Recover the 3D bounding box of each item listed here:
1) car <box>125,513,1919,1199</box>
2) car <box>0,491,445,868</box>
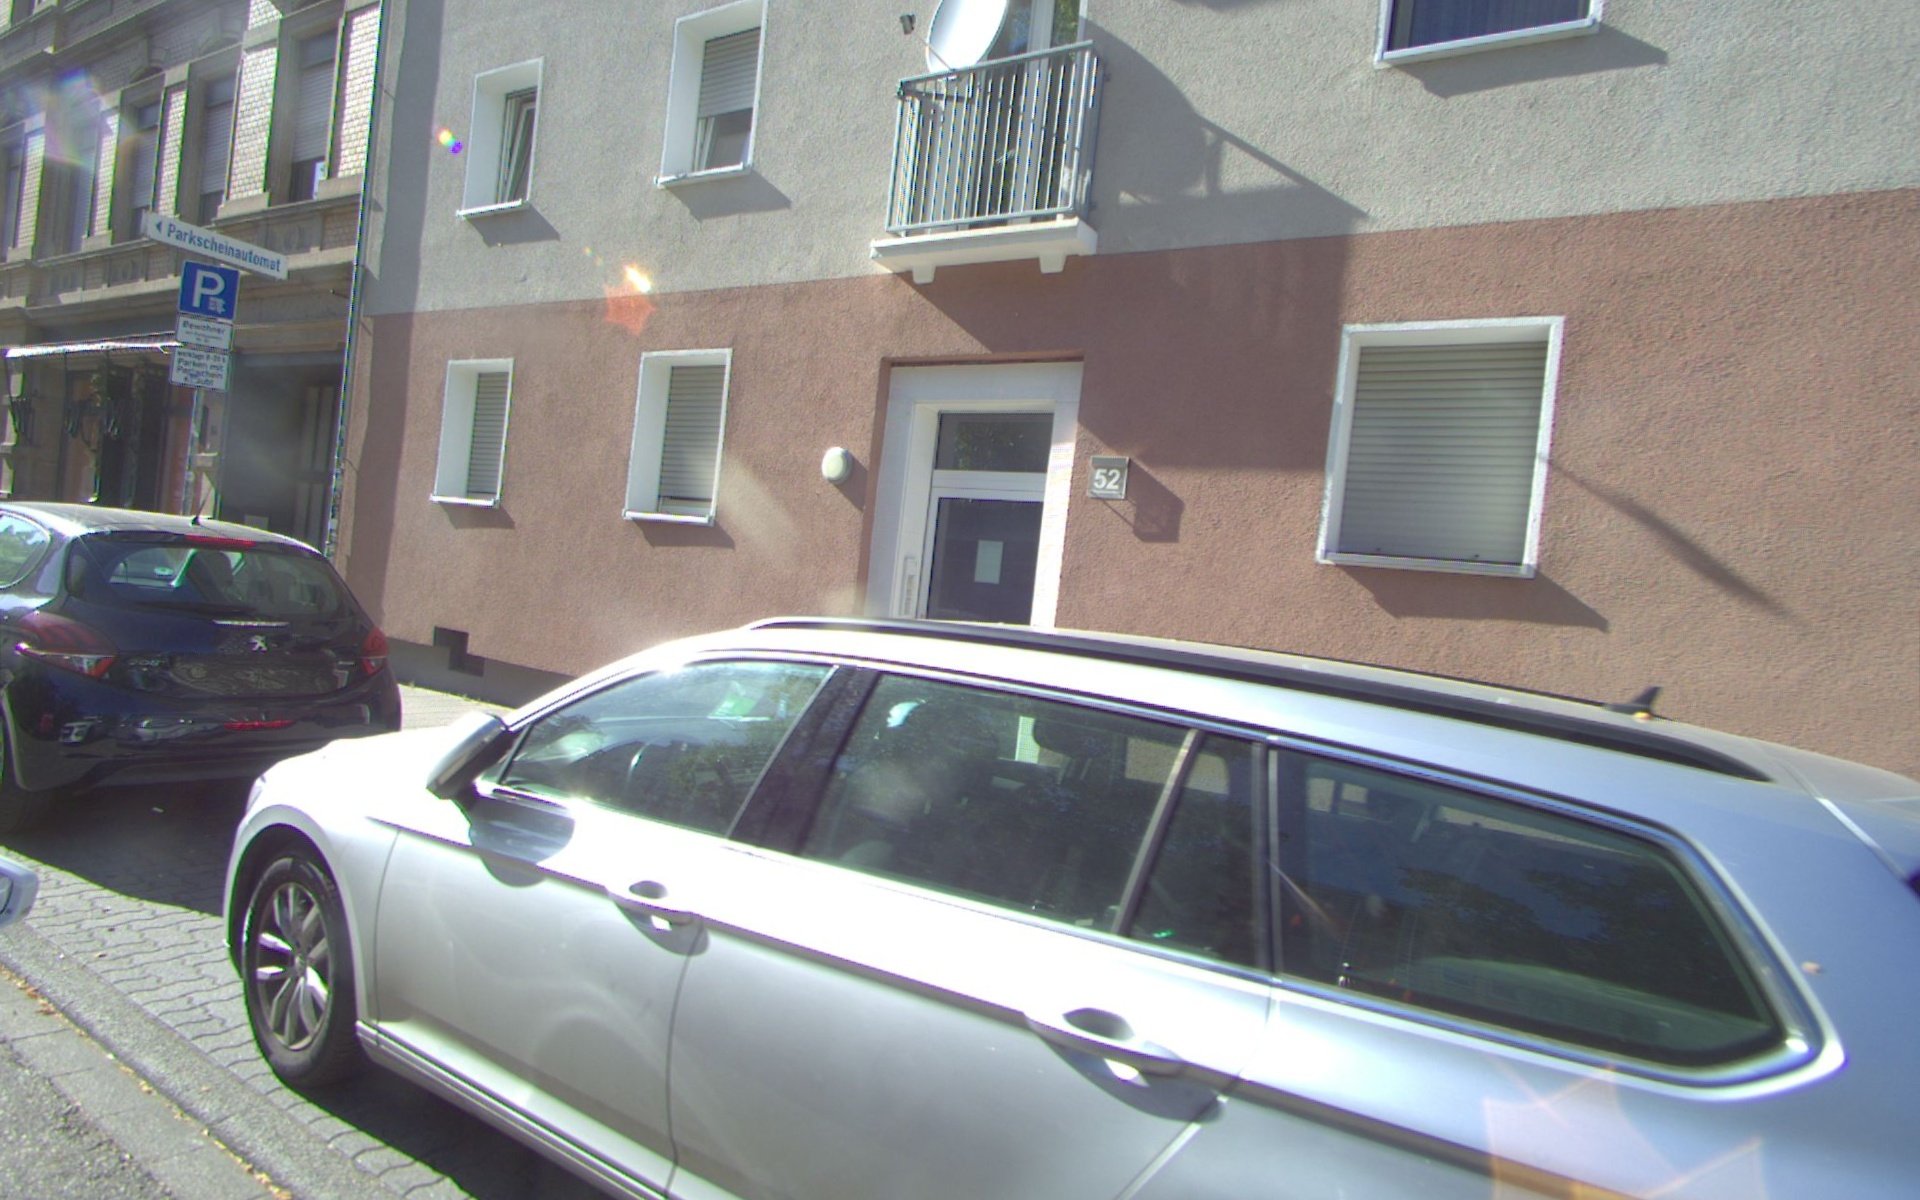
[{"bbox_3d":[-0.191,0.721,2.631,4.443,1.479,1.786,6,1,33],"label":"car"},{"bbox_3d":[-4.863,0.211,5.684,3.648,1.499,1.711,6,0,31],"label":"car"}]
